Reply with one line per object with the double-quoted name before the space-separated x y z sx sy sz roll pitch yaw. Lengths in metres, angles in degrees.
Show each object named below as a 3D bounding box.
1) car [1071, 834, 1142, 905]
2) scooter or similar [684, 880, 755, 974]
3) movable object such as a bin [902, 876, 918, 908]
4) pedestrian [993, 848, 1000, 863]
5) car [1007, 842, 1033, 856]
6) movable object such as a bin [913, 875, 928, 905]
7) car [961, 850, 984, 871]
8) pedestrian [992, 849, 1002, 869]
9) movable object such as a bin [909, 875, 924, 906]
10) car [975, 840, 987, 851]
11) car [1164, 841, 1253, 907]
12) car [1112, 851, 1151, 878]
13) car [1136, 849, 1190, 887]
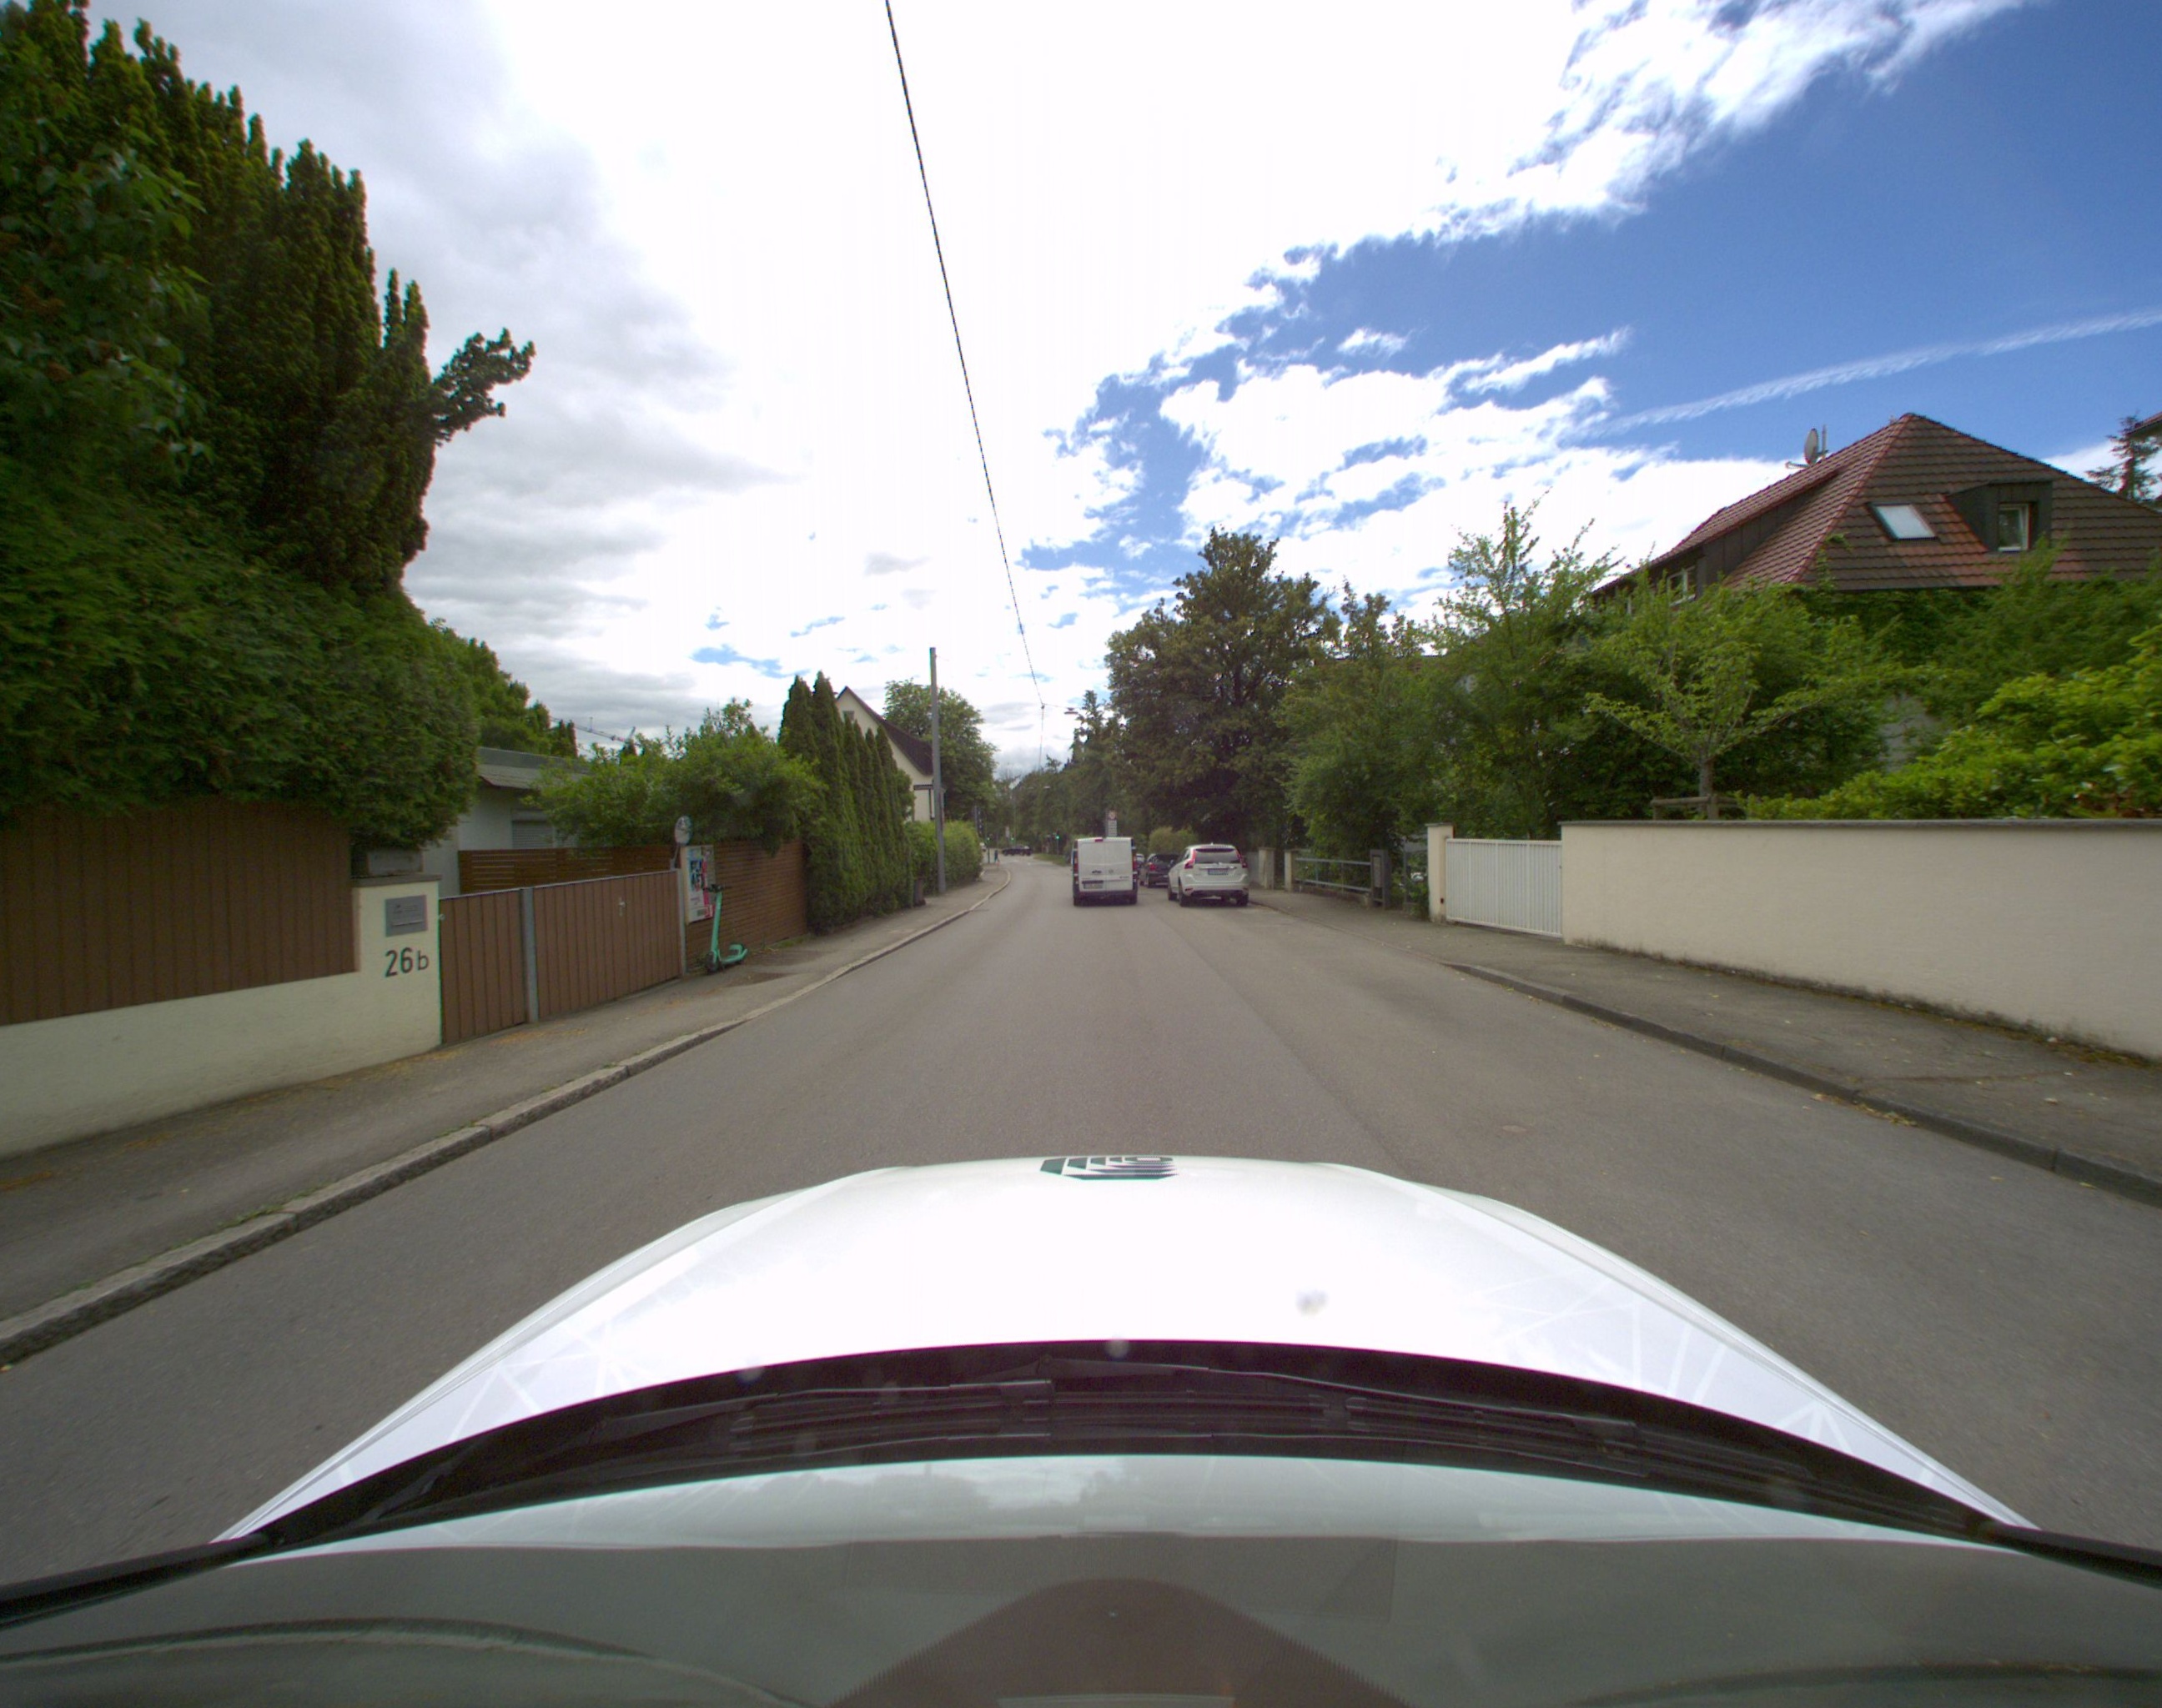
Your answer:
"car" 0.685 0.391 24.923 1.925 1.964 4.399 -1 1 -2
"scooter or similar" -4.988 0.977 11.296 0.390 1.171 1.270 -1 0 1
"movable object such as a bin" -4.998 1.112 23.799 0.335 0.893 0.476 0 0 2
"pedestrian" -9.155 0.202 88.496 0.696 1.616 0.714 -1 2 -5
"car" -8.662 -0.697 115.702 1.909 1.859 4.361 -1 1 -30
"movable object such as a bin" -4.937 1.105 25.085 0.335 0.893 0.476 0 0 2
"car" -8.351 0.458 62.934 1.585 1.538 2.919 1 1 -4
"pedestrian" -7.044 0.424 68.041 0.704 1.610 0.576 -2 0 0
"movable object such as a bin" -4.937 1.093 24.410 0.335 0.893 0.476 0 0 2
"car" -17.054 -1.460 138.591 1.822 1.727 3.993 -1 1 -5
"car" 3.561 0.515 23.425 1.859 1.685 4.349 -1 0 0
"car" 2.794 0.549 45.707 1.706 1.412 3.785 0 0 -4
"car" 3.405 0.554 34.608 1.706 1.487 3.786 -1 0 -3
